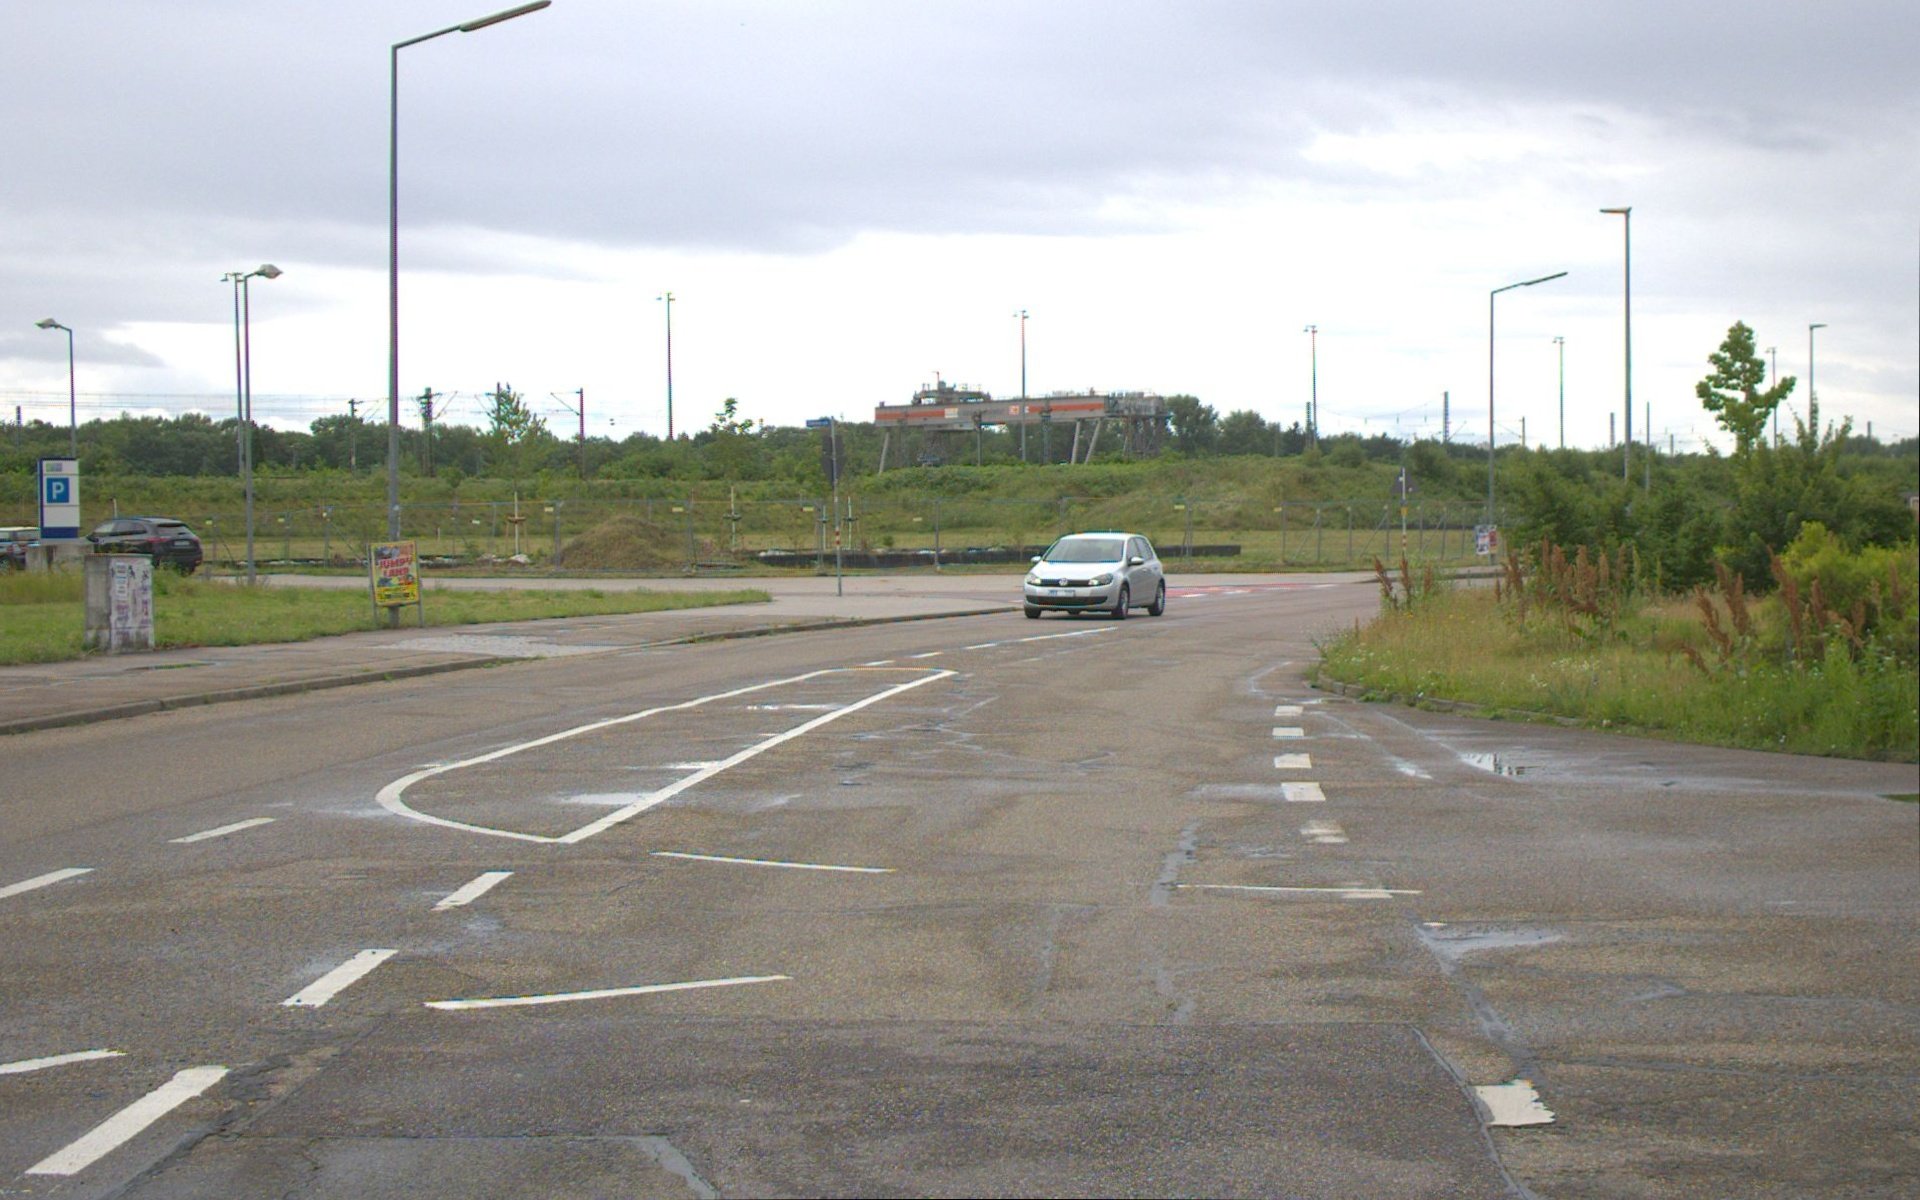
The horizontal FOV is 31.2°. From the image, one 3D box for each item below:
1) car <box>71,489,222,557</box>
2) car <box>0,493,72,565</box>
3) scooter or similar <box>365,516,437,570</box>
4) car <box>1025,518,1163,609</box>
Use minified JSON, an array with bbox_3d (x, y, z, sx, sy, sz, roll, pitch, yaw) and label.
[{"bbox_3d":[-22.590,-2.153,95.376,3.996,1.816,1.996,1,3,38],"label":"car"},{"bbox_3d":[-27.573,-2.064,99.045,3.997,2.006,1.995,2,3,43],"label":"car"},{"bbox_3d":[-12.344,-1.262,75.925,1.463,1.164,0.571,1,2,12],"label":"scooter or similar"},{"bbox_3d":[2.373,-0.664,59.914,1.673,1.456,4.054,2,2,12],"label":"car"}]
